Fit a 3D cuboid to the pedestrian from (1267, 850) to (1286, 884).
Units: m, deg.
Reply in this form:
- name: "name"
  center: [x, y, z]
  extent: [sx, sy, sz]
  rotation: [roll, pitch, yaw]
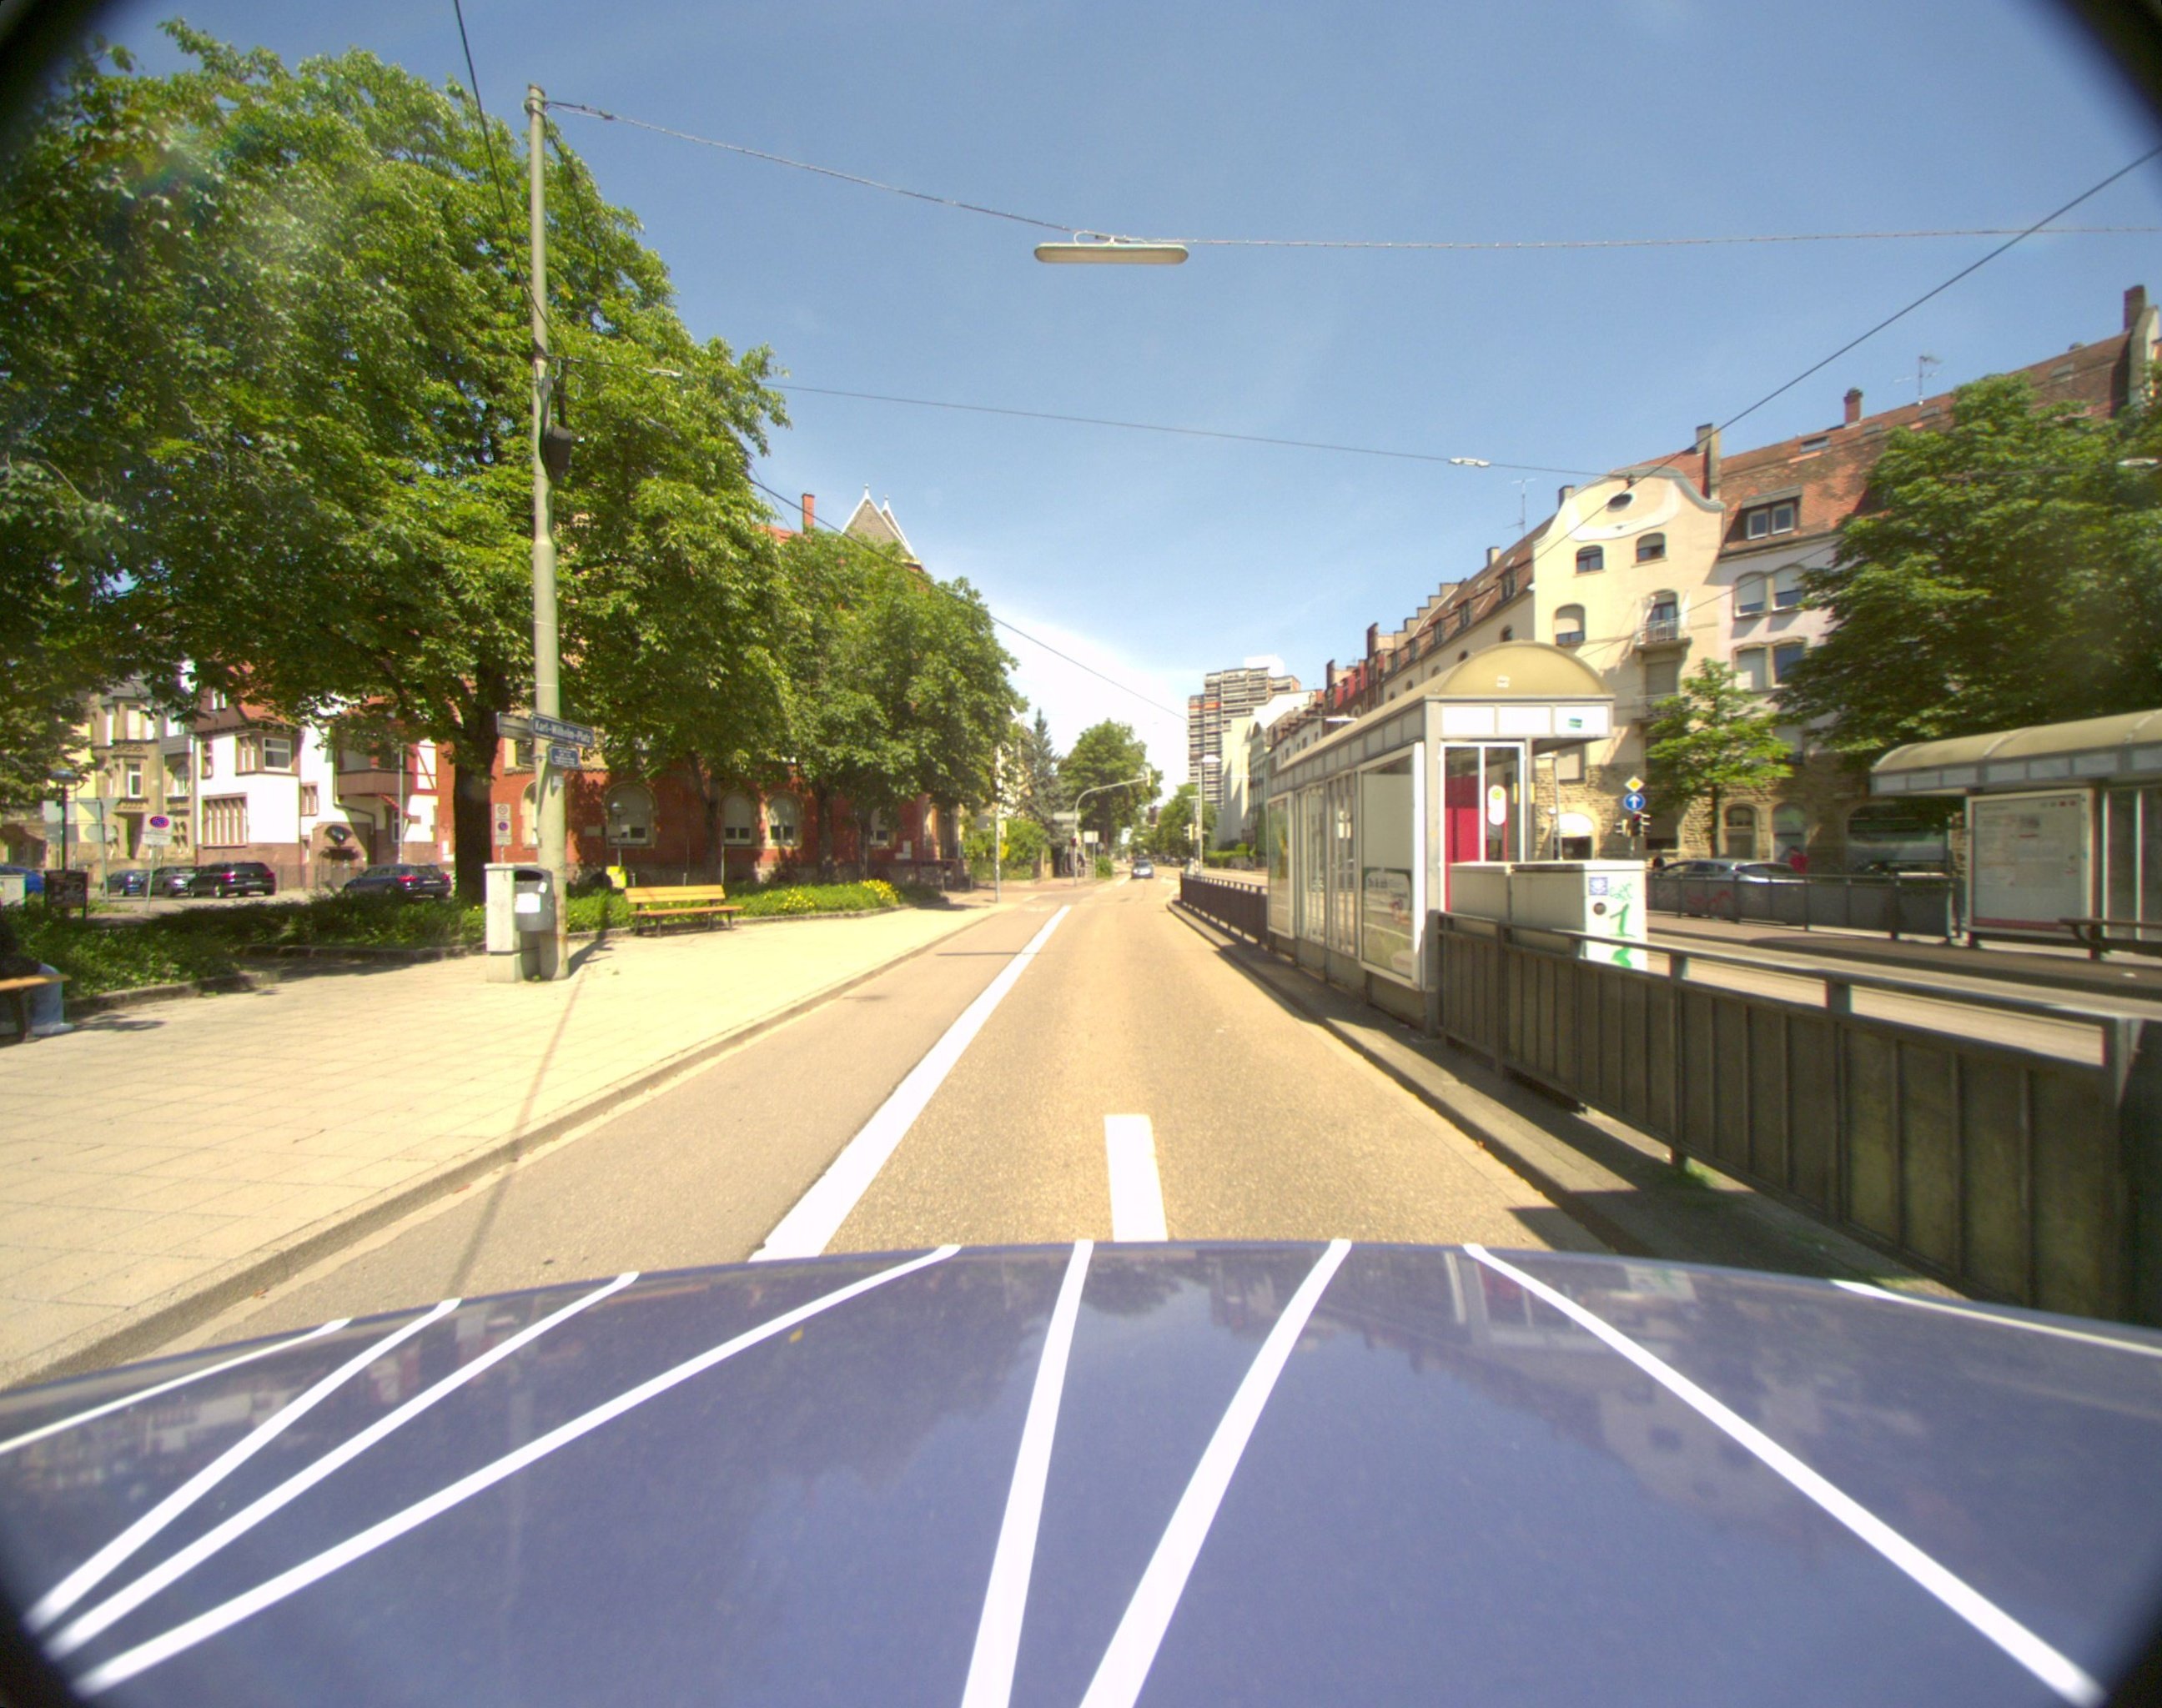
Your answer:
- name: "pedestrian"
  center: [10.663, 0.704, 41.434]
  extent: [0.838, 1.813, 0.673]
  rotation: [0, 0, -3]

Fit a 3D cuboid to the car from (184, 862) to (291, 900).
- name: "car"
  center: [-39.592, 1.275, 35.669]
  extent: [4.299, 1.608, 1.941]
  rotation: [-2, 1, 23]

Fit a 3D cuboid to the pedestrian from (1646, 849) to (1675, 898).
- name: "pedestrian"
  center: [19.338, 0.641, 25.357]
  extent: [0.594, 1.637, 0.474]
  rotation: [0, 0, 5]

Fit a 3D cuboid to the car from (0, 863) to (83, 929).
- name: "car"
  center: [-32.846, 1.301, 22.030]
  extent: [1.934, 1.869, 4.315]
  rotation: [-2, 1, 23]

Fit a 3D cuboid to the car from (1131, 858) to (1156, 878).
- name: "car"
  center: [5.008, 1.084, 60.901]
  extent: [1.895, 1.372, 4.001]
  rotation: [-2, 1, 5]

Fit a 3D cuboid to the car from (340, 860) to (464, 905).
- name: "car"
  center: [-27.046, 1.132, 30.290]
  extent: [4.299, 1.608, 1.941]
  rotation: [-2, 1, 23]

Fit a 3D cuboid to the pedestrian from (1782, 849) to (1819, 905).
- name: "pedestrian"
  center: [20.110, 0.629, 21.234]
  extent: [0.594, 1.542, 0.474]
  rotation: [0, 0, -1]

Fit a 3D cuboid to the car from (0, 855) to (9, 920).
- name: "car"
  center: [-37.662, 1.201, 23.798]
  extent: [1.934, 2.178, 4.315]
  rotation: [-2, 1, 23]

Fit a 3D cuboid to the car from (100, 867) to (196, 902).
- name: "car"
  center: [-48.426, 1.573, 39.437]
  extent: [4.299, 1.608, 1.941]
  rotation: [-2, 1, 23]

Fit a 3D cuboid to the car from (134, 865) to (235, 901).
- name: "car"
  center: [-44.152, 1.431, 37.415]
  extent: [4.299, 1.608, 1.941]
  rotation: [-2, 1, 23]

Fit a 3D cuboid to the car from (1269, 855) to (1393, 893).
- name: "car"
  center: [11.047, 0.893, 33.623]
  extent: [5.024, 1.474, 1.941]
  rotation: [-2, 1, 20]

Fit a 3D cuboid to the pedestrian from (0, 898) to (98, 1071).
- name: "pedestrian"
  center: [-7.745, 0.909, 5.422]
  extent: [0.566, 1.136, 0.725]
  rotation: [0, 1, -16]

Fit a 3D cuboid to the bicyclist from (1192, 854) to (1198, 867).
- name: "bicyclist"
  center: [16.393, 0.948, 109.522]
  extent: [0.644, 1.864, 0.716]
  rotation: [-2, 1, -2]

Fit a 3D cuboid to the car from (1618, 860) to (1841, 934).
- name: "car"
  center: [14.836, 0.902, 17.731]
  extent: [1.812, 1.386, 3.999]
  rotation: [-2, 1, 1]

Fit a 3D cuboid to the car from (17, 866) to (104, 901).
- name: "car"
  center: [-59.181, 1.712, 44.082]
  extent: [4.299, 1.862, 1.941]
  rotation: [-2, 1, 23]

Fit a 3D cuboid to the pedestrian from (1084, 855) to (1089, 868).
- name: "pedestrian"
  center: [0.757, 1.006, 103.367]
  extent: [0.686, 1.732, 0.660]
  rotation: [-2, 1, 3]

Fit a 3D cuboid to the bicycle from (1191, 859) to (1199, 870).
- name: "bicycle"
  center: [16.425, 1.548, 109.538]
  extent: [0.644, 1.503, 1.970]
  rotation: [-2, 1, -2]

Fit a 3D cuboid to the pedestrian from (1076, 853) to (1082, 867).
- name: "pedestrian"
  center: [-0.237, 0.737, 90.115]
  extent: [0.702, 1.645, 0.665]
  rotation: [0, 0, 1]
